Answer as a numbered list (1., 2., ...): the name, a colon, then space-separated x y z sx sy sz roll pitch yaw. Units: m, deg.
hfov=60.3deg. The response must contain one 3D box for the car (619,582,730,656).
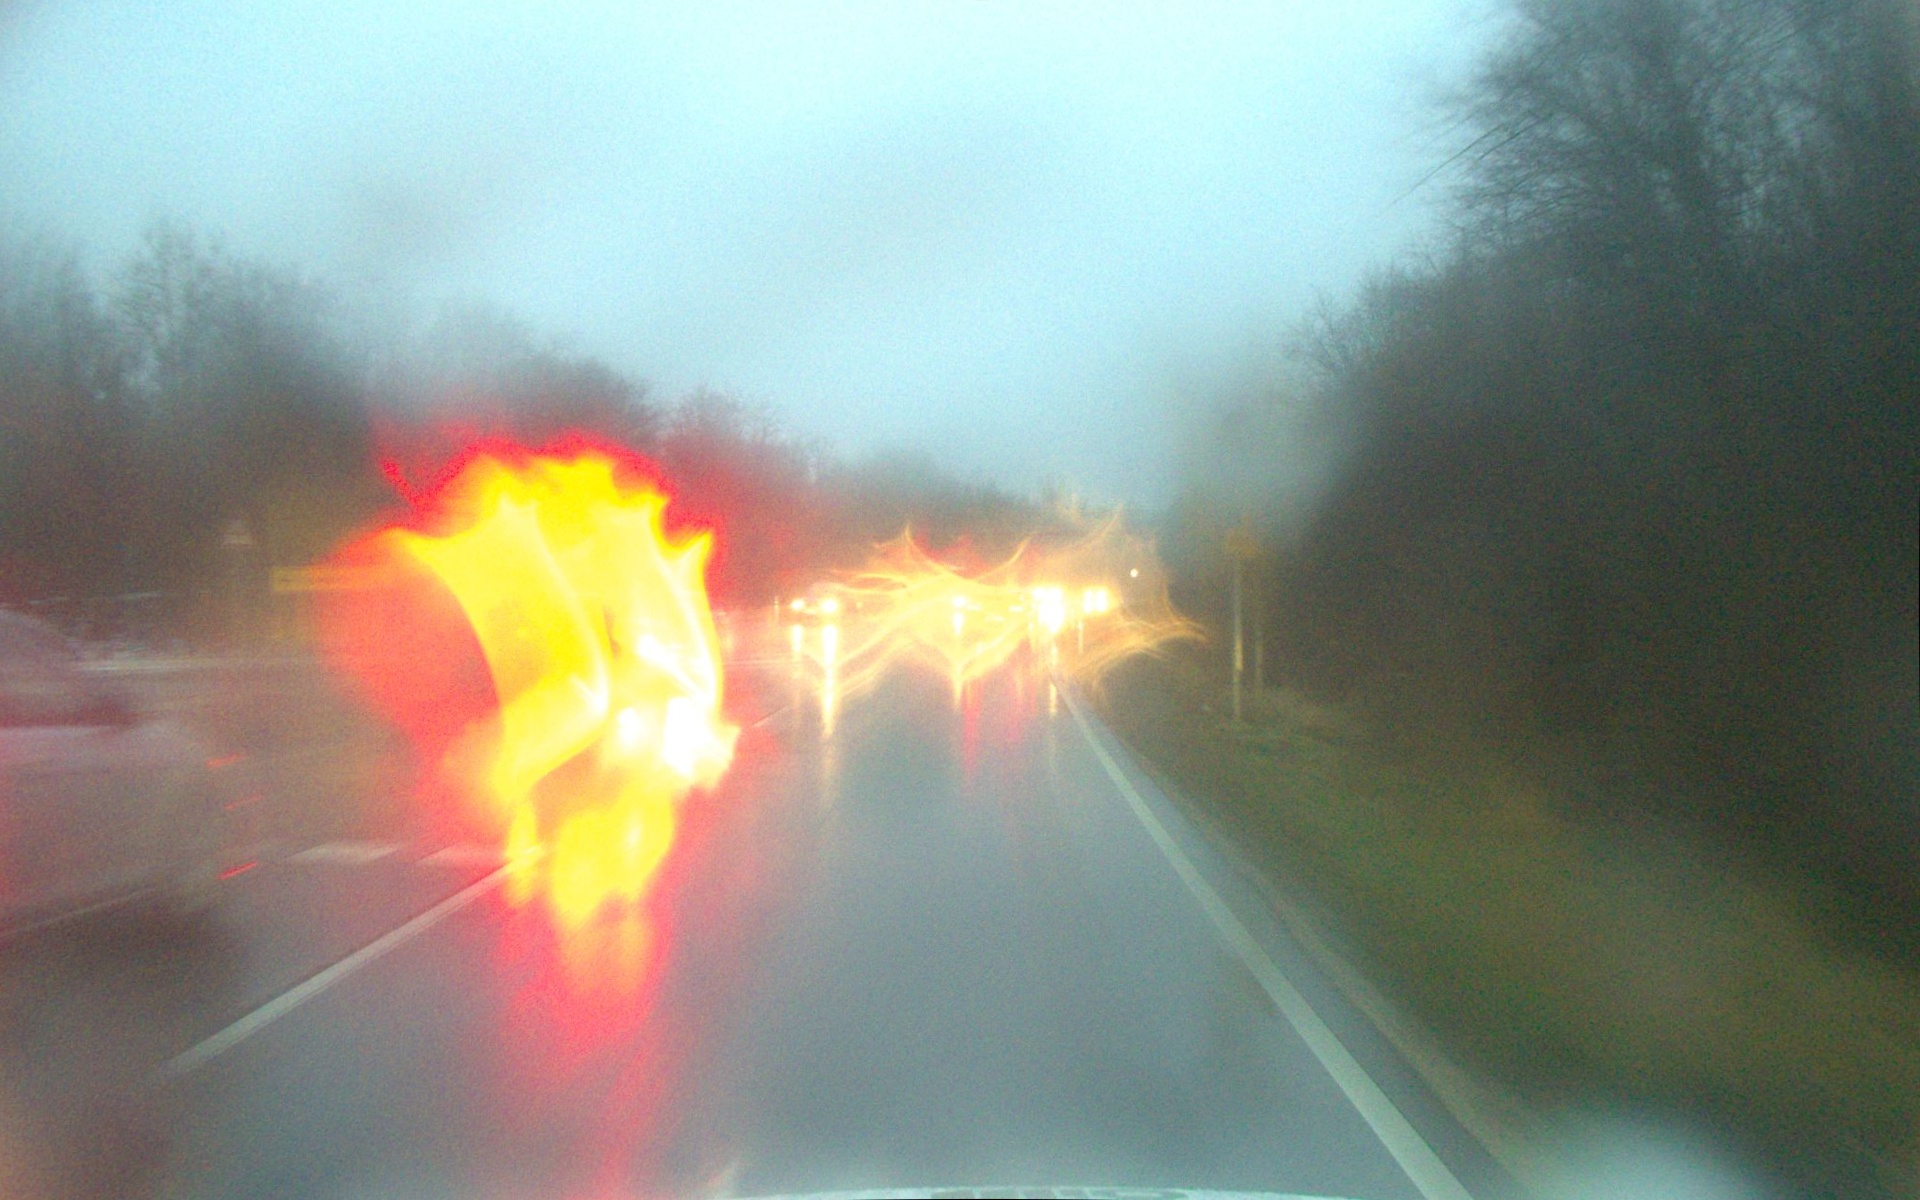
1. car: -6.814 0.421 39.974 1.785 1.645 4.574 1 0 1

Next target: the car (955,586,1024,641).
1. car: 0.836 0.330 44.329 1.643 1.414 4.100 0 0 4

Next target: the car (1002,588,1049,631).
1. car: 2.737 0.373 68.205 1.643 1.704 4.101 0 0 6

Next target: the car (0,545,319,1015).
1. car: -4.197 0.584 5.945 1.964 1.583 4.517 1 0 0

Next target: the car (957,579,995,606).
1. car: 0.967 -0.469 98.806 1.784 1.550 4.302 0 1 7

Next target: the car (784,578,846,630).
1. car: -5.898 0.154 67.822 1.799 2.004 4.360 2 0 4

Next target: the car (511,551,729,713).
1. car: -3.840 0.322 19.367 1.678 1.655 4.217 1 0 -1
